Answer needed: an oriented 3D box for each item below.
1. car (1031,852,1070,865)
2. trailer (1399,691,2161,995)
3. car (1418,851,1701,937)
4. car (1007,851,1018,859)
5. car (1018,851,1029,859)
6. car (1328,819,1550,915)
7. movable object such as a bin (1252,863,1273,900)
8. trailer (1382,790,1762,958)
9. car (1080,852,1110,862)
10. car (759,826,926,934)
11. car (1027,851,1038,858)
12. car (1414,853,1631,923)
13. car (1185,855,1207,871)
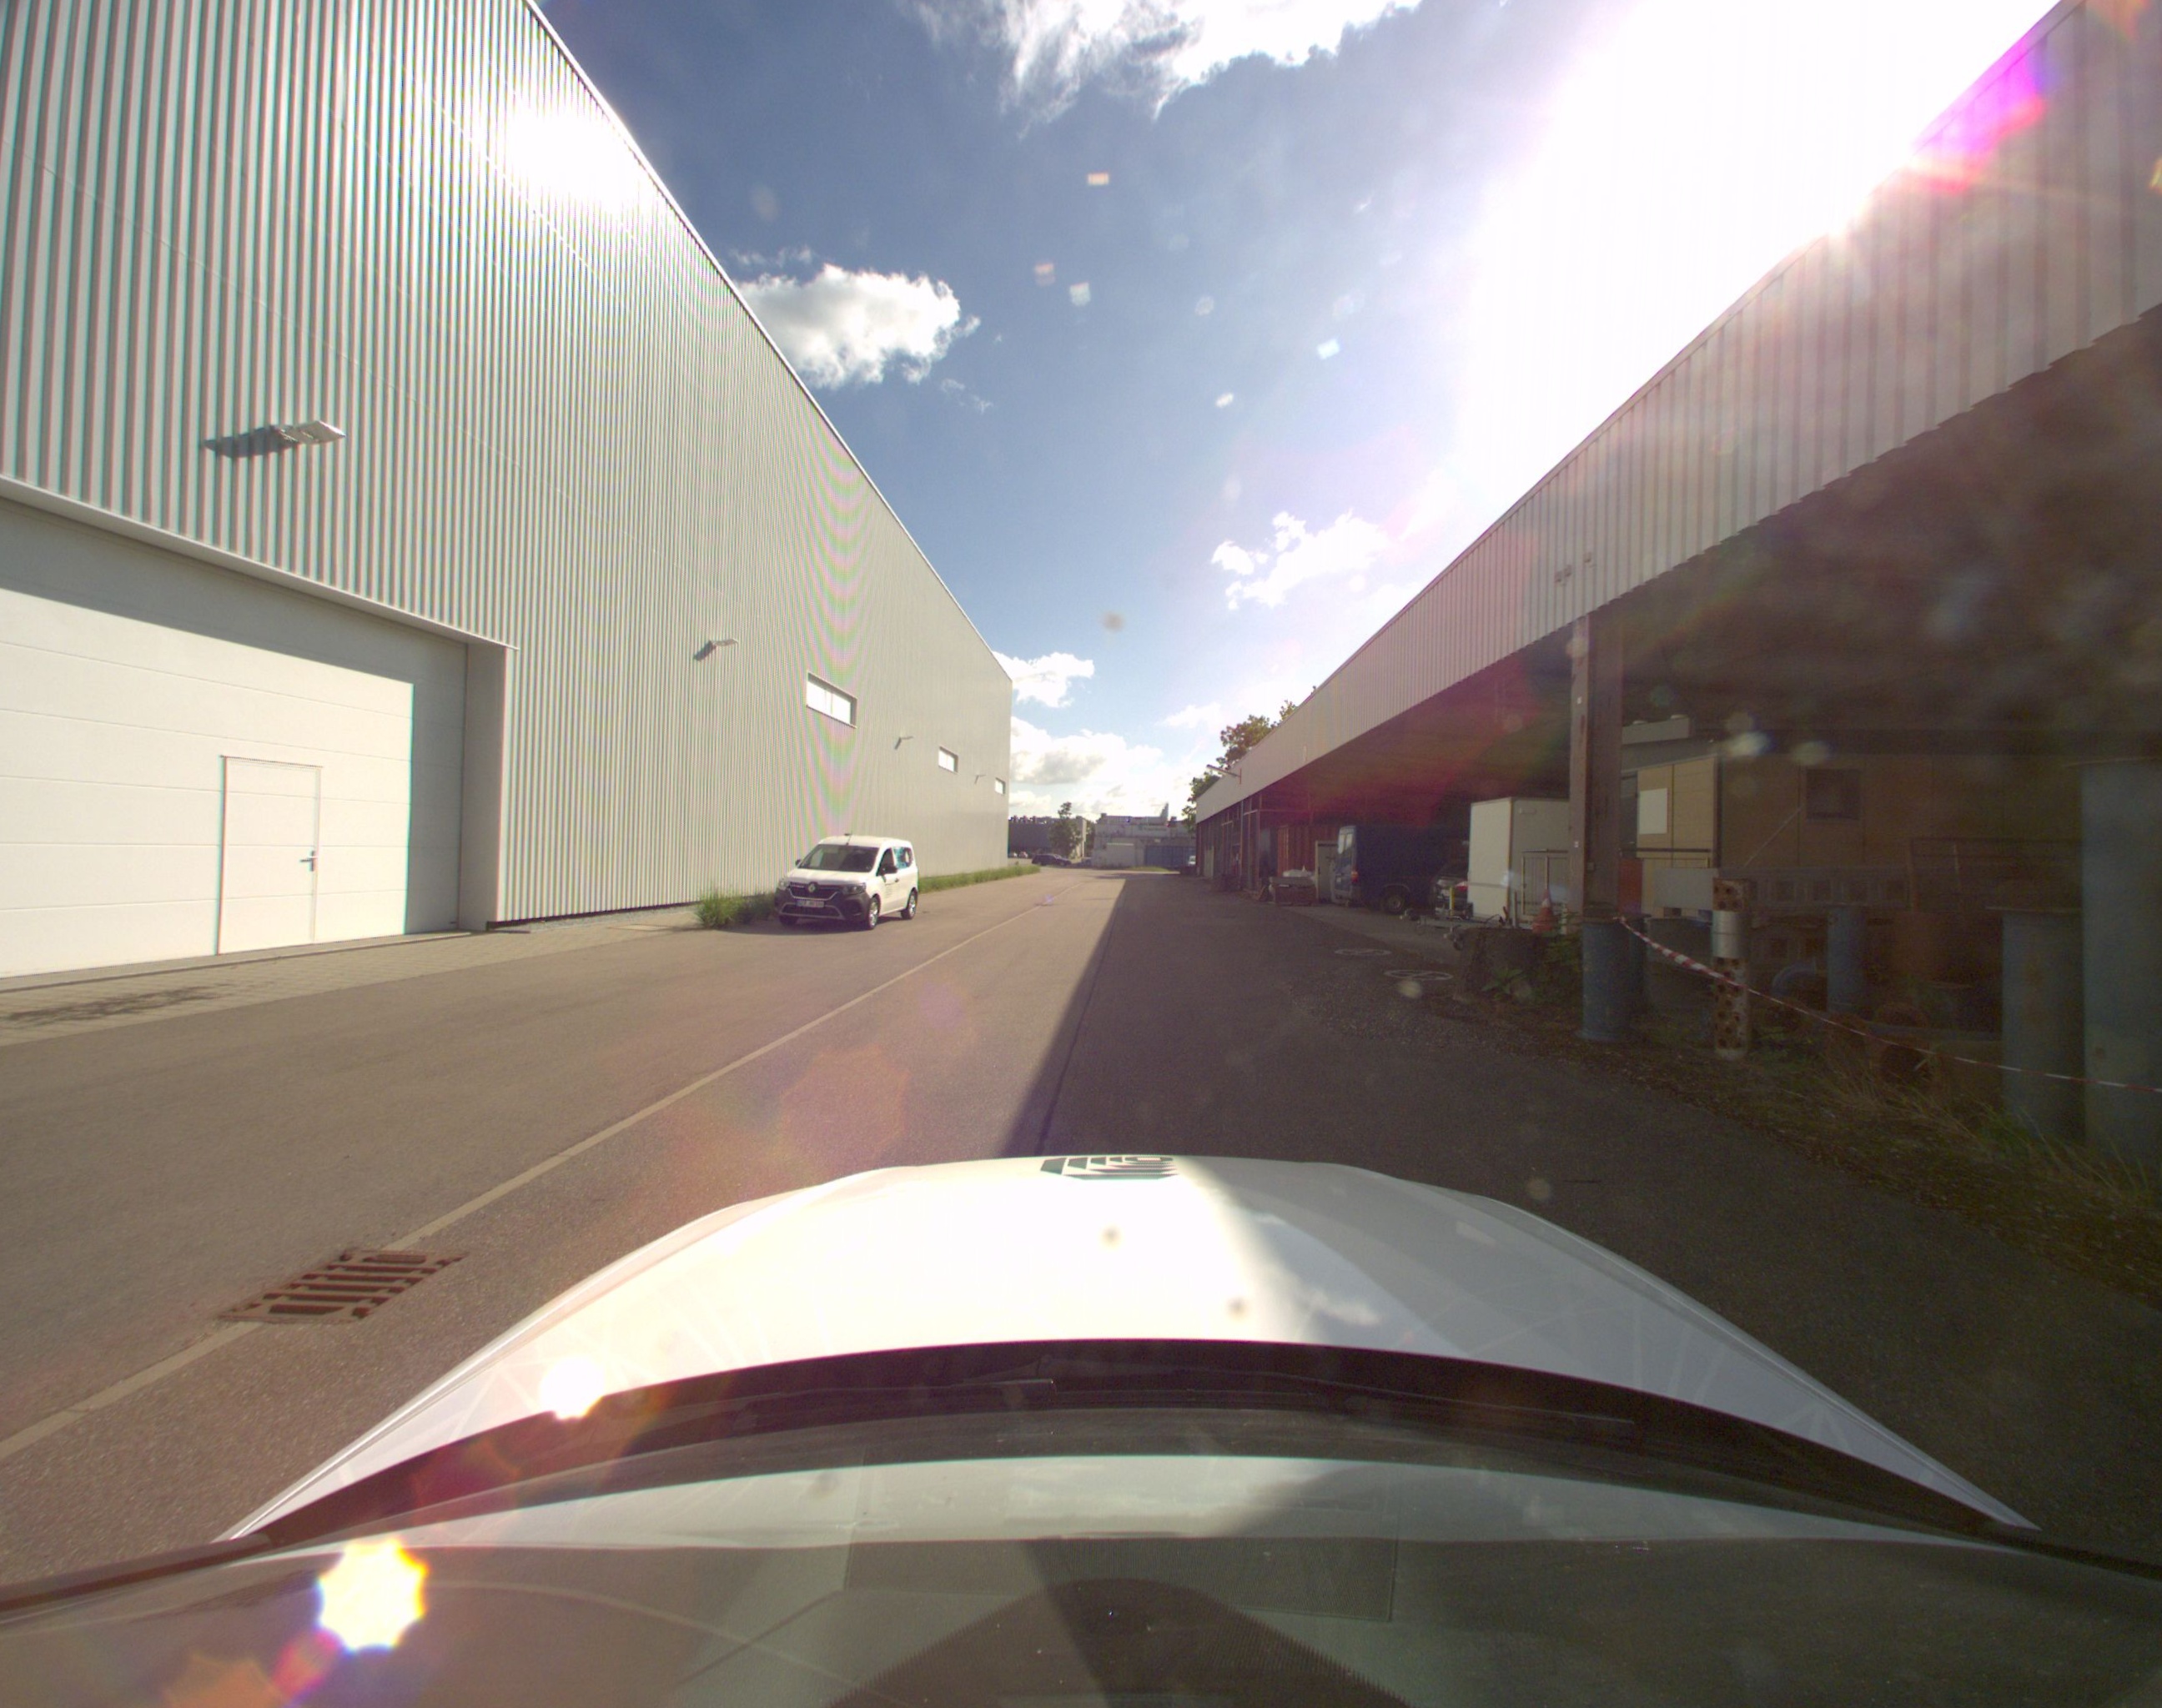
[{"bbox_3d":[-3.667,0.582,99.204,4.504,1.508,1.911,0,0,5],"label":"car"},{"bbox_3d":[9.504,-0.125,10.127,9.995,3.216,2.856,0,0,3],"label":"trailer"},{"bbox_3d":[8.868,0.714,15.351,4.313,1.496,1.777,0,0,1],"label":"car"},{"bbox_3d":[-16.585,0.290,196.854,1.985,1.736,4.003,-1,-1,3],"label":"car"},{"bbox_3d":[-13.991,0.239,197.069,2.184,1.736,4.003,-1,-1,3],"label":"car"},{"bbox_3d":[9.273,0.324,21.439,4.957,2.325,2.002,1,0,3],"label":"car"},{"bbox_3d":[6.084,0.906,27.289,0.578,1.164,1.241,0,0,8],"label":"movable object such as a bin"},{"bbox_3d":[7.423,0.267,12.778,4.785,2.391,1.831,0,0,8],"label":"trailer"},{"bbox_3d":[2.244,0.438,126.565,4.505,1.508,1.911,1,0,4],"label":"car"},{"bbox_3d":[-4.727,0.468,16.900,1.882,1.845,4.362,3,0,3],"label":"car"},{"bbox_3d":[-11.558,0.172,195.232,2.184,1.736,4.003,-1,-1,3],"label":"car"},{"bbox_3d":[9.879,0.733,18.436,3.975,1.472,1.787,0,0,-1],"label":"car"},{"bbox_3d":[12.065,0.933,85.625,1.985,1.585,4.176,1,1,3],"label":"car"}]
